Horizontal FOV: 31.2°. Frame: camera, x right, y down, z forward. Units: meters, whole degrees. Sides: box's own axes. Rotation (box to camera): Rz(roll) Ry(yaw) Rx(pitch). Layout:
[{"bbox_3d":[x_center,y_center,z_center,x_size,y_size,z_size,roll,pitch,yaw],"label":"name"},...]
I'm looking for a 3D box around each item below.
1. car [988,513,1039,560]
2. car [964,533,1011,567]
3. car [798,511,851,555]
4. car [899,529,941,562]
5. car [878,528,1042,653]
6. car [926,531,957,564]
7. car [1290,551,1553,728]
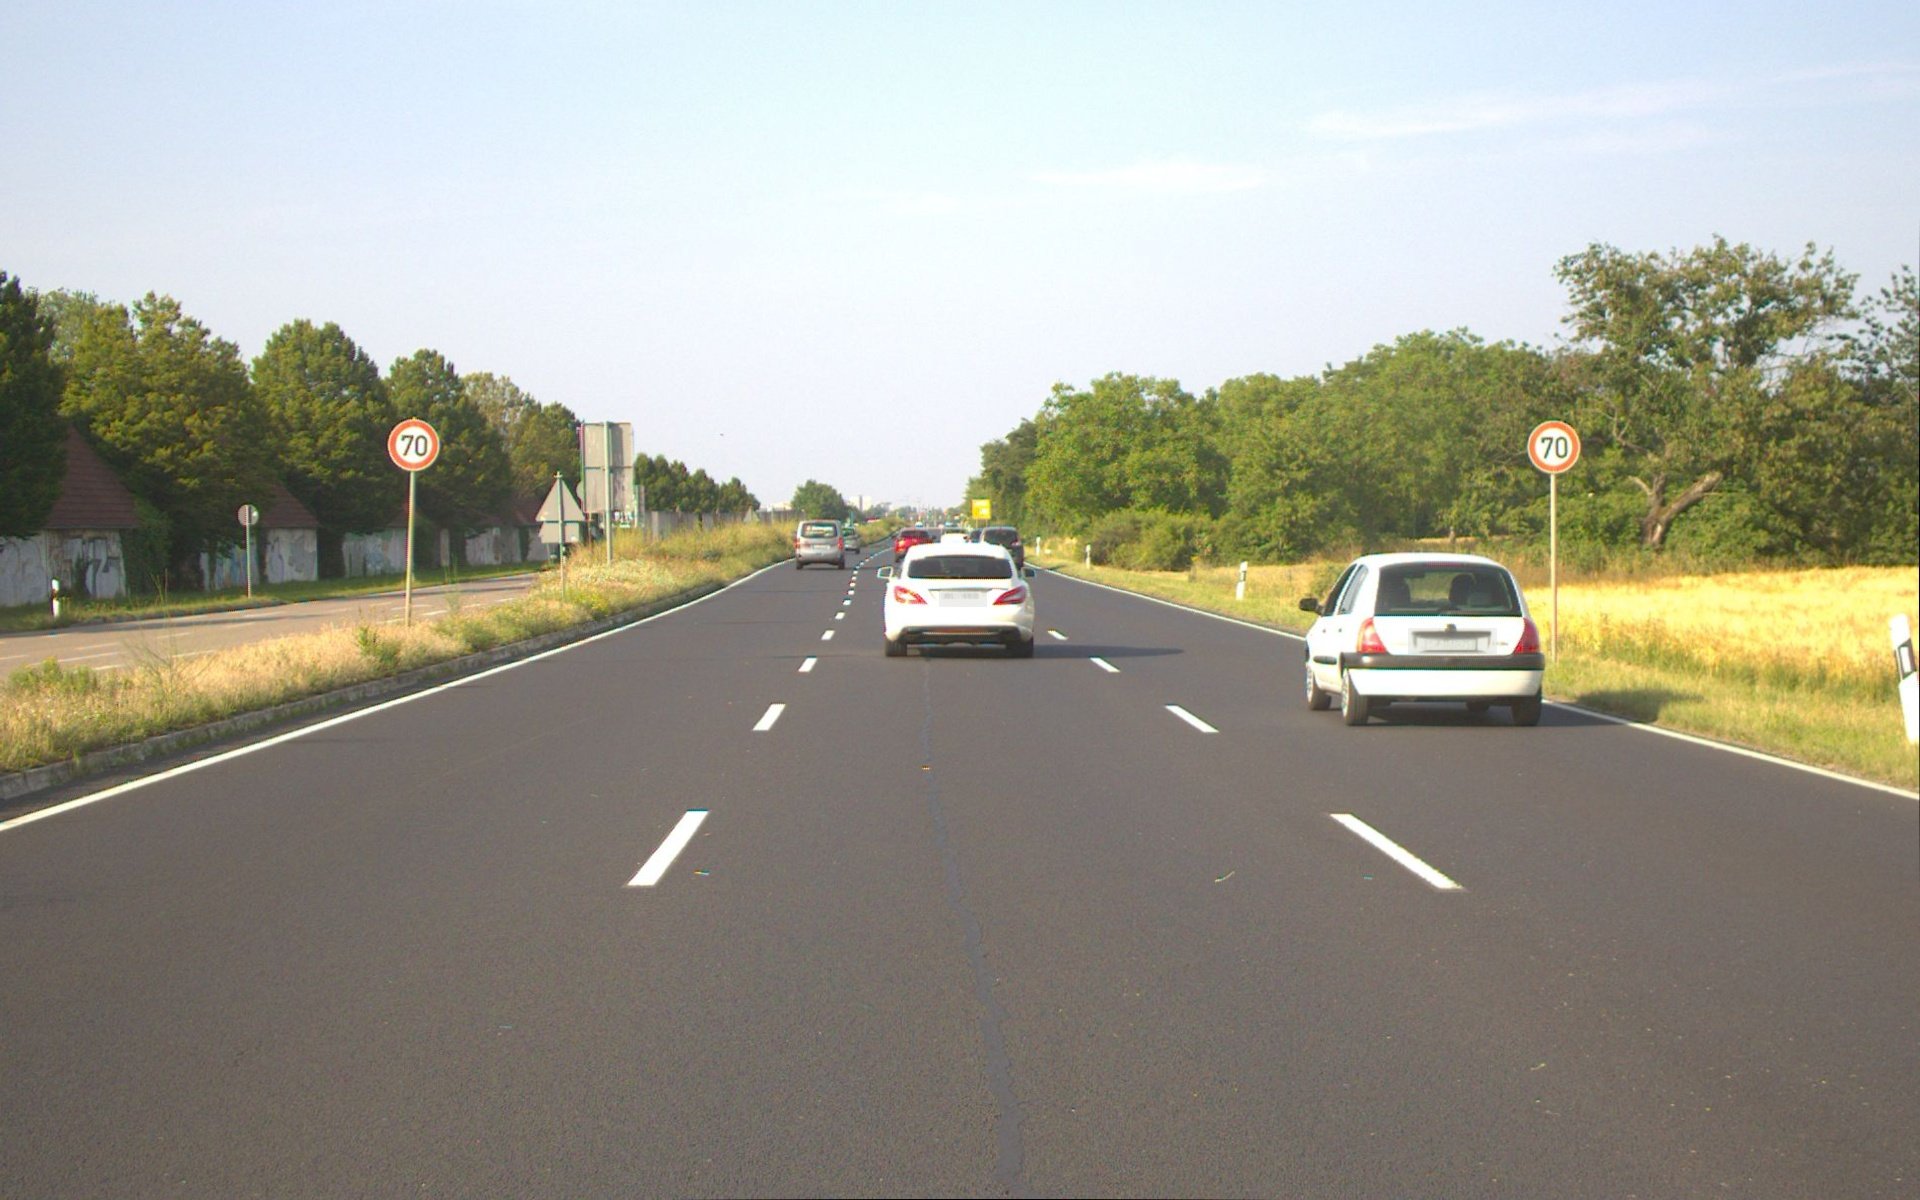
[{"bbox_3d":[2.018,-2.390,131.075,1.828,1.722,4.000,1,0,-1],"label":"car"},{"bbox_3d":[1.322,-2.409,165.238,1.993,1.579,4.285,1,0,-3],"label":"car"},{"bbox_3d":[-5.177,-2.542,131.827,1.758,1.612,4.000,1,0,1],"label":"car"},{"bbox_3d":[-1.806,-2.402,152.639,1.812,1.431,3.859,1,0,-1],"label":"car"},{"bbox_3d":[-0.014,-0.127,44.035,1.993,1.511,4.000,1,0,0],"label":"car"},{"bbox_3d":[-1.124,-3.151,206.688,1.803,1.897,3.559,1,0,1],"label":"car"},{"bbox_3d":[3.824,0.301,29.042,1.617,1.382,3.952,1,0,-1],"label":"car"}]
